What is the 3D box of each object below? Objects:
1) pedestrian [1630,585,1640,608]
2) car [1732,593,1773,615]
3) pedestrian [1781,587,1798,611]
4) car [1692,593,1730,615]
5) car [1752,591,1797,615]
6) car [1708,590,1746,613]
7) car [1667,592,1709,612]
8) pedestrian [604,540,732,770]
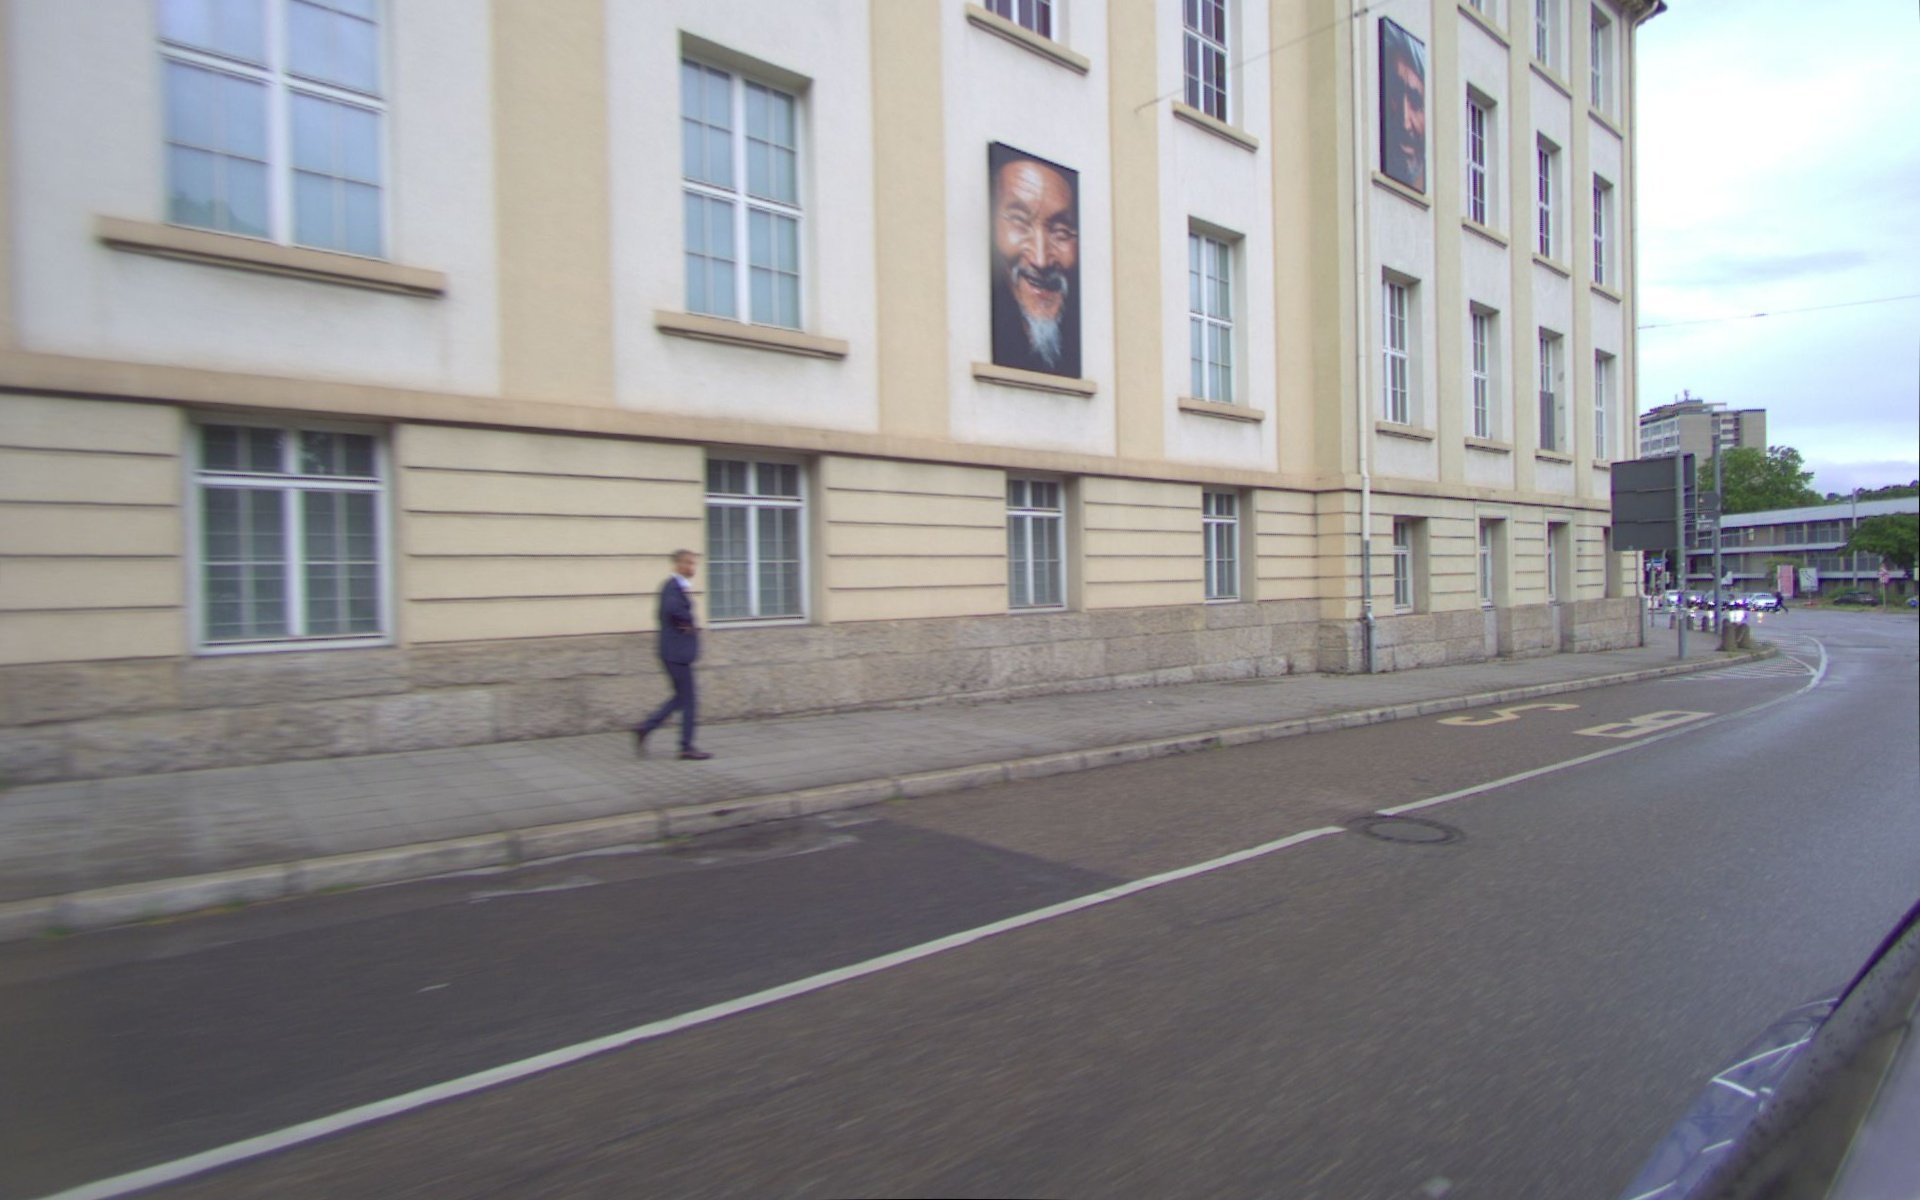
[{"bbox_3d":[60.462,-0.302,90.655,0.637,2.039,0.589,0,0,26],"label":"pedestrian"},{"bbox_3d":[69.899,0.318,89.311,2.058,1.850,4.518,1,1,28],"label":"car"},{"bbox_3d":[62.813,-0.070,76.602,0.901,1.819,0.533,-2,-1,45],"label":"pedestrian"},{"bbox_3d":[67.978,0.319,91.653,2.058,1.935,4.518,1,1,28],"label":"car"},{"bbox_3d":[67.324,0.224,83.724,2.058,1.935,4.518,1,1,28],"label":"car"},{"bbox_3d":[64.927,0.122,85.758,1.867,1.892,4.304,1,1,28],"label":"car"},{"bbox_3d":[70.972,0.184,98.723,2.050,1.935,4.535,1,1,19],"label":"car"},{"bbox_3d":[-2.466,0.429,8.547,0.836,1.820,0.672,0,1,-39],"label":"pedestrian"}]
